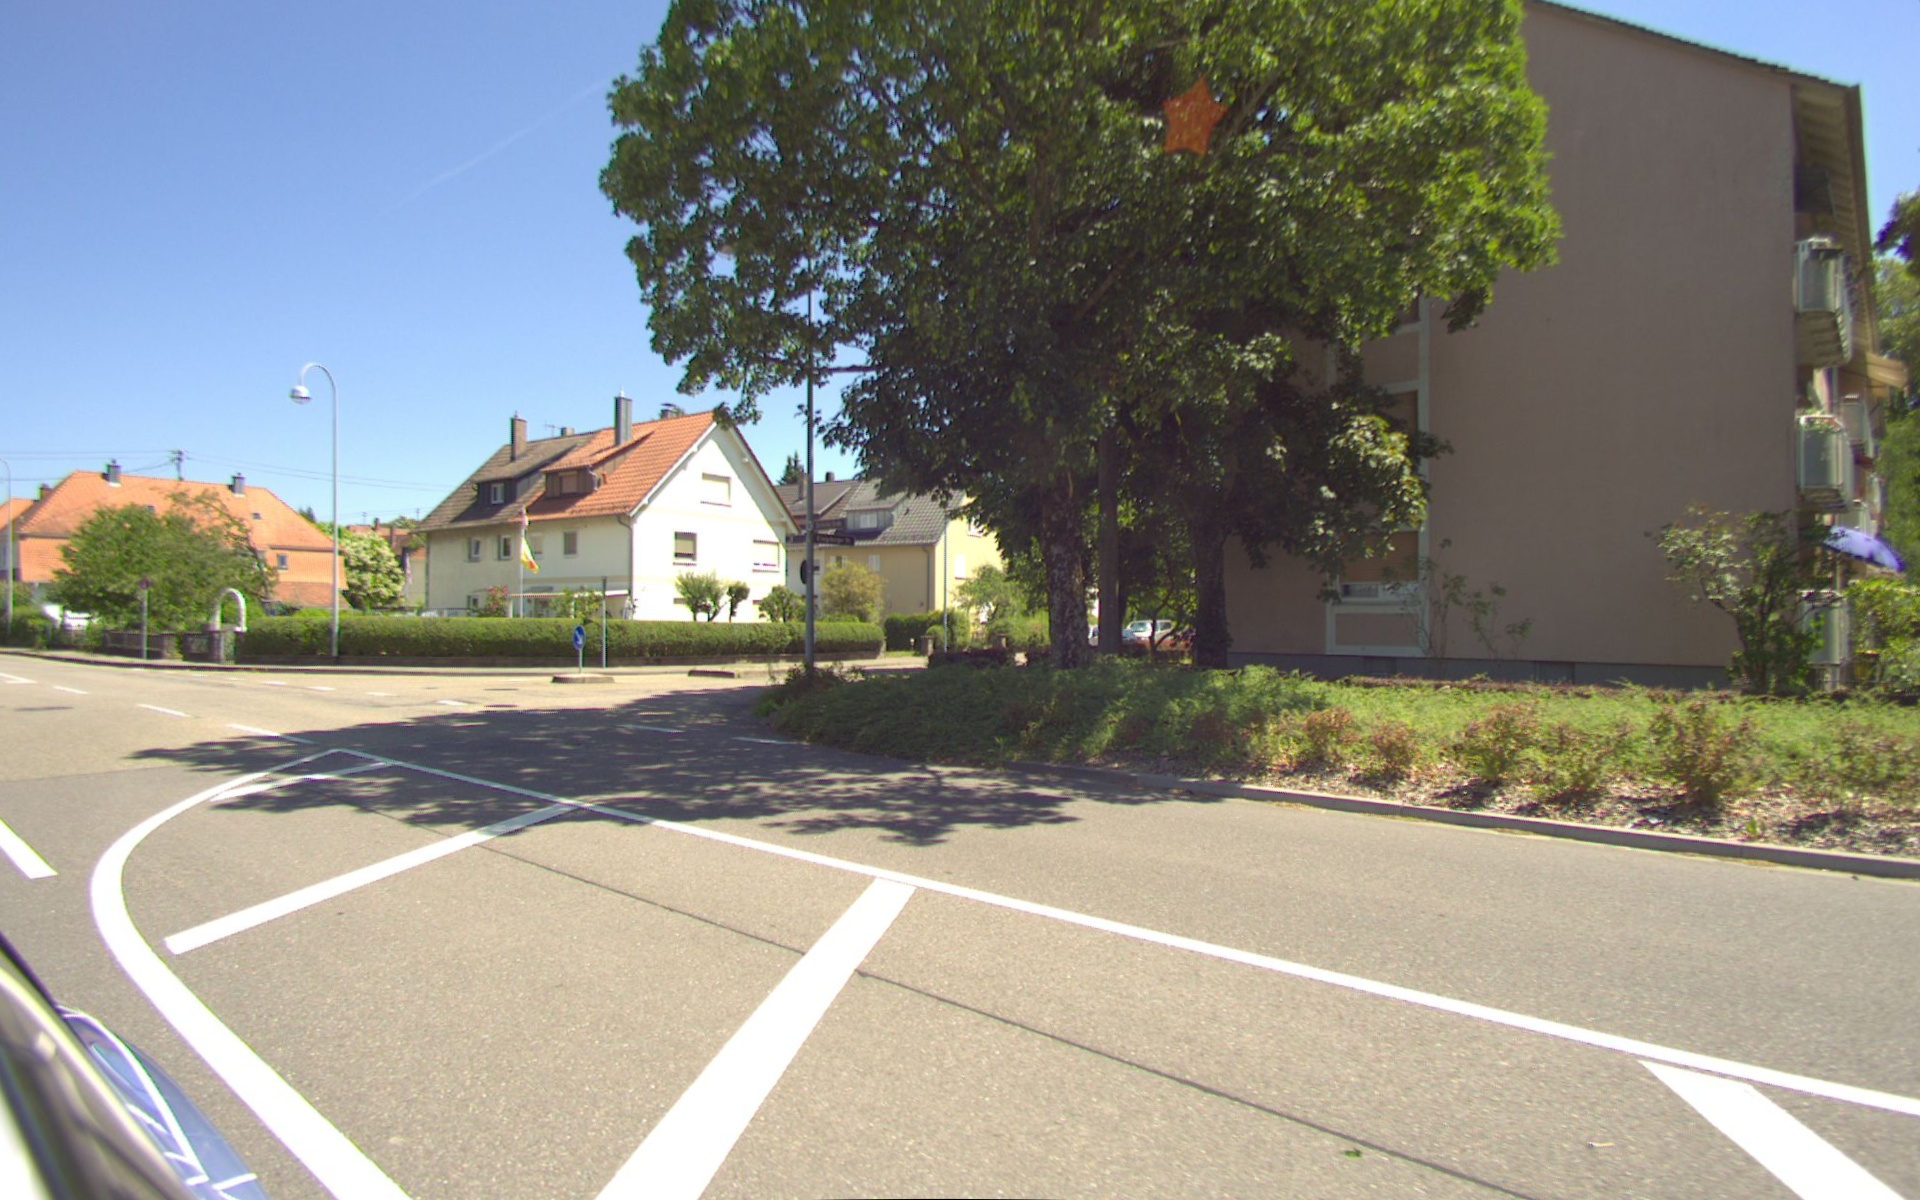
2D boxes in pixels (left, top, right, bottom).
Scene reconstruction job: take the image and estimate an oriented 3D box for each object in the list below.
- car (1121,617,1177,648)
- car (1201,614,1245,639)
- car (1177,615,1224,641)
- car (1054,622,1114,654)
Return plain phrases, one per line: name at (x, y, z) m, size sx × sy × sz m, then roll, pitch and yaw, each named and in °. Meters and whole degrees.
car at (11.997, 2.036, 64.083) m, size 1.995 × 1.844 × 3.953 m, roll -2°, pitch -1°, yaw 34°
car at (20.002, 1.984, 76.832) m, size 1.995 × 1.756 × 3.953 m, roll -2°, pitch -1°, yaw 34°
car at (17.168, 2.000, 72.110) m, size 1.995 × 1.756 × 3.953 m, roll -2°, pitch -1°, yaw 34°
car at (6.780, 2.066, 55.121) m, size 1.826 × 1.598 × 3.959 m, roll -2°, pitch -1°, yaw 30°
